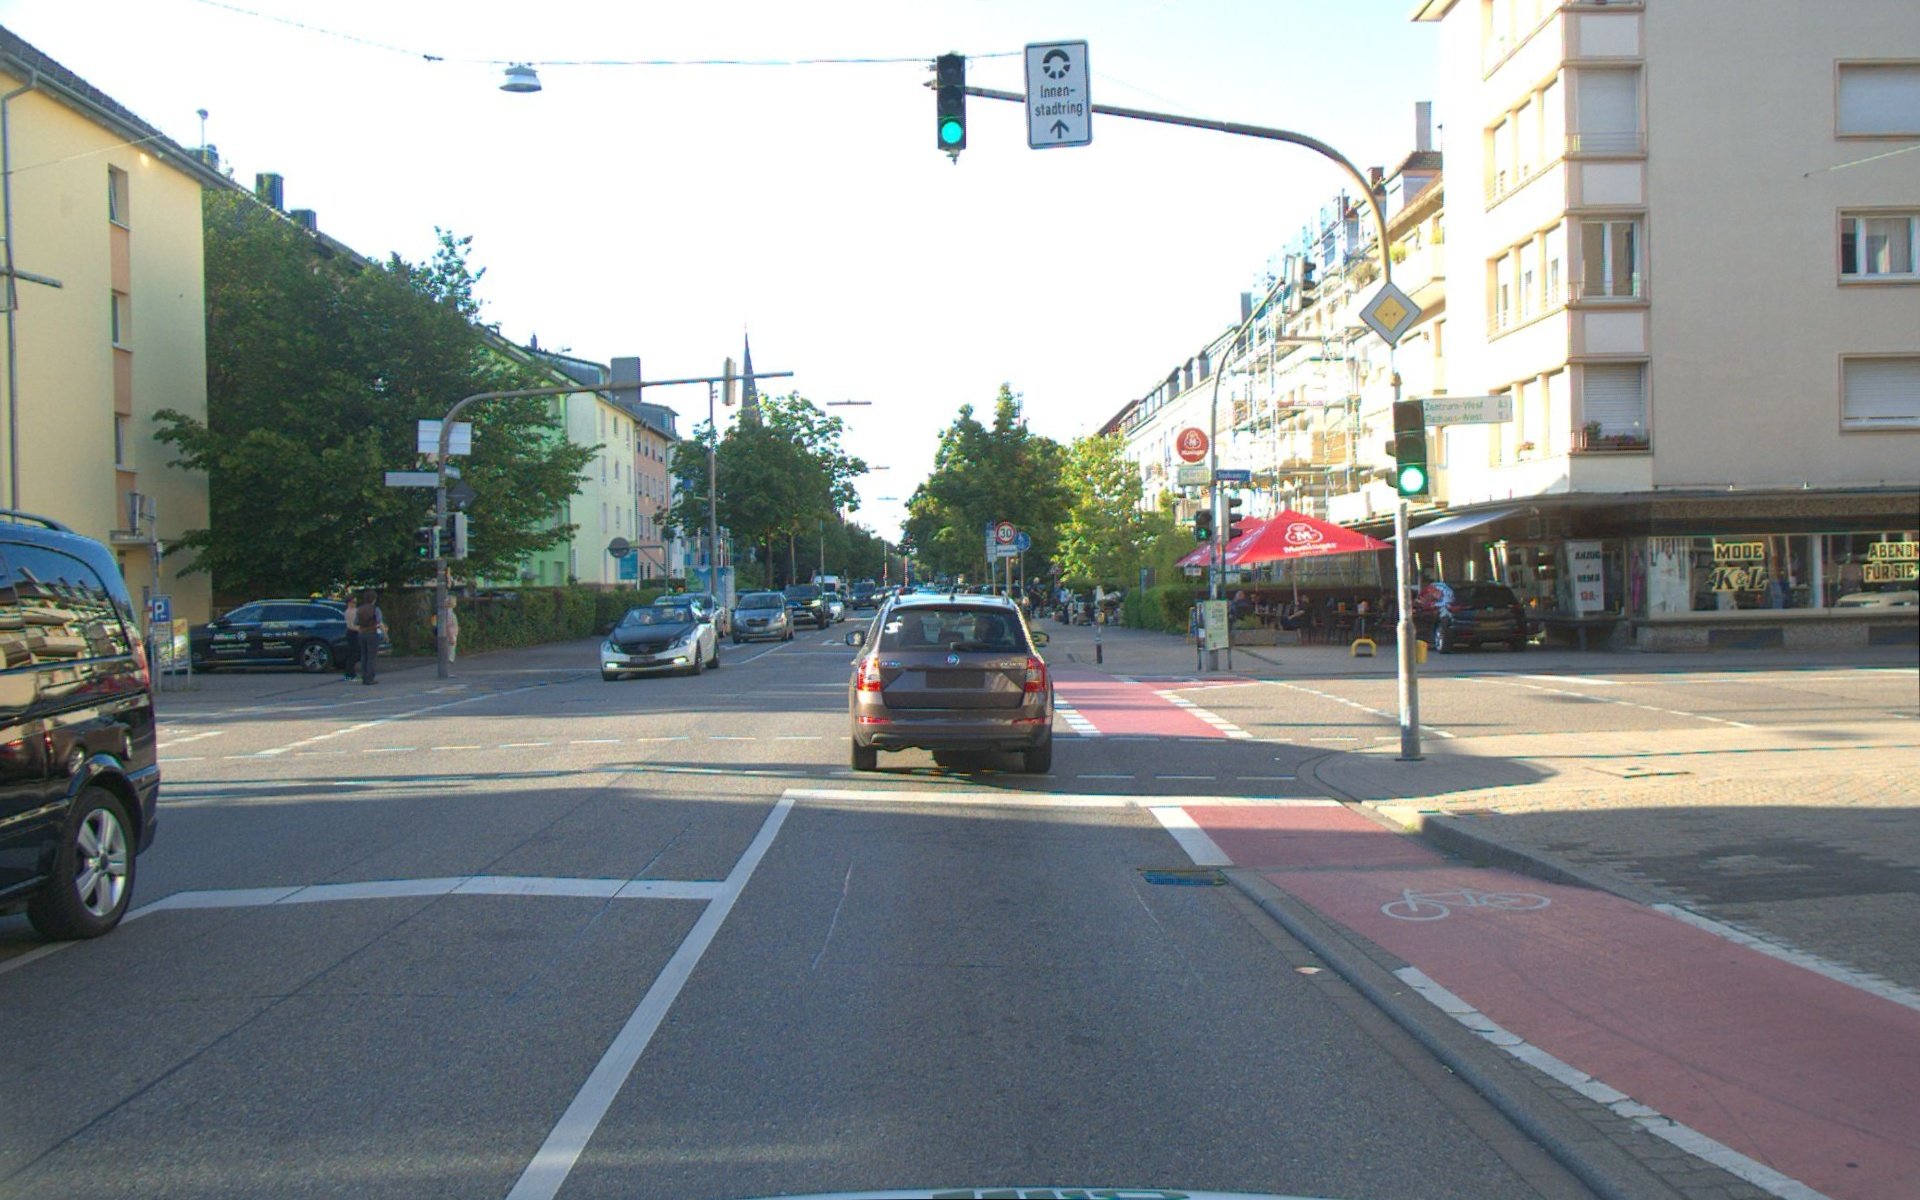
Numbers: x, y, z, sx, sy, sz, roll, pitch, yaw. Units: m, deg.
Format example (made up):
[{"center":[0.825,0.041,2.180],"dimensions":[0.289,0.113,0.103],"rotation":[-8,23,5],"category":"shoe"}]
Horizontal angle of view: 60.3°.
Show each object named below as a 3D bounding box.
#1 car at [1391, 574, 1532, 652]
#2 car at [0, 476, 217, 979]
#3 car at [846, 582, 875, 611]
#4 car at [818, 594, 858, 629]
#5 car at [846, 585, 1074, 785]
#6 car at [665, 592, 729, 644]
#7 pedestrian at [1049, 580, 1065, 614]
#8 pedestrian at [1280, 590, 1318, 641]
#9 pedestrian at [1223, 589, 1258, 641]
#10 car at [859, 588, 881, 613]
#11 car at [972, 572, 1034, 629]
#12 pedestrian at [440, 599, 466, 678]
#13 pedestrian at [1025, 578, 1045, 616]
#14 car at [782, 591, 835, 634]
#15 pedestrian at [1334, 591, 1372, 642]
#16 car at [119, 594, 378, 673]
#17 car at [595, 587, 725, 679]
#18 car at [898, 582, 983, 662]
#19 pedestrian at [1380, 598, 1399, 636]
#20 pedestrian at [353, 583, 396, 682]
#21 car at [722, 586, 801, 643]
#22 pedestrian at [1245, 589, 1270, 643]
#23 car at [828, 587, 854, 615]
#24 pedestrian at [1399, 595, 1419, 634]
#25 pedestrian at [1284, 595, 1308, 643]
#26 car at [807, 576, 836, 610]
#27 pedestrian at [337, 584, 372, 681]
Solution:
[{"center":[10.569,0.249,35.133],"dimensions":[1.740,1.512,3.999],"rotation":[-1,0,-1],"category":"car"},{"center":[-4.680,0.539,5.782],"dimensions":[1.954,1.942,4.962],"rotation":[-3,0,-2],"category":"car"},{"center":[-7.442,-0.273,124.216],"dimensions":[1.953,2.049,3.999],"rotation":[-1,0,-1],"category":"car"},{"center":[-5.819,0.533,79.446],"dimensions":[1.669,1.577,4.001],"rotation":[-1,0,-1],"category":"car"},{"center":[-0.064,0.637,14.748],"dimensions":[1.737,1.515,4.309],"rotation":[0,0,-2],"category":"car"},{"center":[-8.822,0.565,55.656],"dimensions":[1.528,1.646,3.999],"rotation":[-1,0,-1],"category":"car"},{"center":[4.526,-0.135,77.207],"dimensions":[0.567,1.590,0.518],"rotation":[-1,0,-11],"category":"pedestrian"},{"center":[8.224,0.377,40.151],"dimensions":[0.714,1.219,0.855],"rotation":[-1,0,-1],"category":"pedestrian"},{"center":[6.744,0.357,39.825],"dimensions":[0.664,1.219,0.855],"rotation":[-1,0,-1],"category":"pedestrian"},{"center":[-8.701,0.034,160.146],"dimensions":[1.953,2.368,3.999],"rotation":[-1,0,-2],"category":"car"},{"center":[1.433,0.015,54.993],"dimensions":[1.952,1.803,4.001],"rotation":[1,0,1],"category":"car"},{"center":[-10.014,0.759,32.704],"dimensions":[0.294,1.530,0.640],"rotation":[-1,0,-1],"category":"pedestrian"},{"center":[3.492,-0.151,76.732],"dimensions":[0.661,1.734,0.800],"rotation":[-1,0,25],"category":"pedestrian"},{"center":[-5.956,0.473,65.577],"dimensions":[1.751,1.598,3.999],"rotation":[1,0,-1],"category":"car"},{"center":[9.574,0.397,40.322],"dimensions":[0.714,1.219,0.855],"rotation":[-1,0,-1],"category":"pedestrian"},{"center":[-14.637,0.671,34.231],"dimensions":[4.540,1.562,1.861],"rotation":[0,0,-2],"category":"car"},{"center":[-5.632,0.581,31.528],"dimensions":[1.793,1.607,3.999],"rotation":[-1,0,-1],"category":"car"},{"center":[-0.424,0.445,35.548],"dimensions":[1.701,1.598,3.999],"rotation":[1,0,-1],"category":"car"},{"center":[11.567,0.447,44.525],"dimensions":[0.364,1.013,0.522],"rotation":[-1,0,-1],"category":"pedestrian"},{"center":[-11.014,0.602,31.117],"dimensions":[0.603,1.828,0.504],"rotation":[-1,0,-1],"category":"pedestrian"},{"center":[-6.048,0.416,50.810],"dimensions":[1.953,1.639,3.999],"rotation":[-1,0,-1],"category":"car"},{"center":[7.344,0.389,40.872],"dimensions":[0.489,1.325,0.506],"rotation":[-1,0,-4],"category":"pedestrian"},{"center":[-10.190,0.073,141.861],"dimensions":[1.953,2.368,3.999],"rotation":[-1,0,-2],"category":"car"},{"center":[11.735,0.379,43.209],"dimensions":[0.364,1.013,0.522],"rotation":[-1,0,-1],"category":"pedestrian"},{"center":[8.347,0.467,41.080],"dimensions":[0.495,1.197,0.428],"rotation":[-1,0,-2],"category":"pedestrian"},{"center":[-10.620,-0.544,127.123],"dimensions":[1.953,2.521,3.999],"rotation":[-1,0,-2],"category":"car"},{"center":[-11.597,0.612,31.672],"dimensions":[0.440,1.828,0.504],"rotation":[-1,0,-1],"category":"pedestrian"}]
